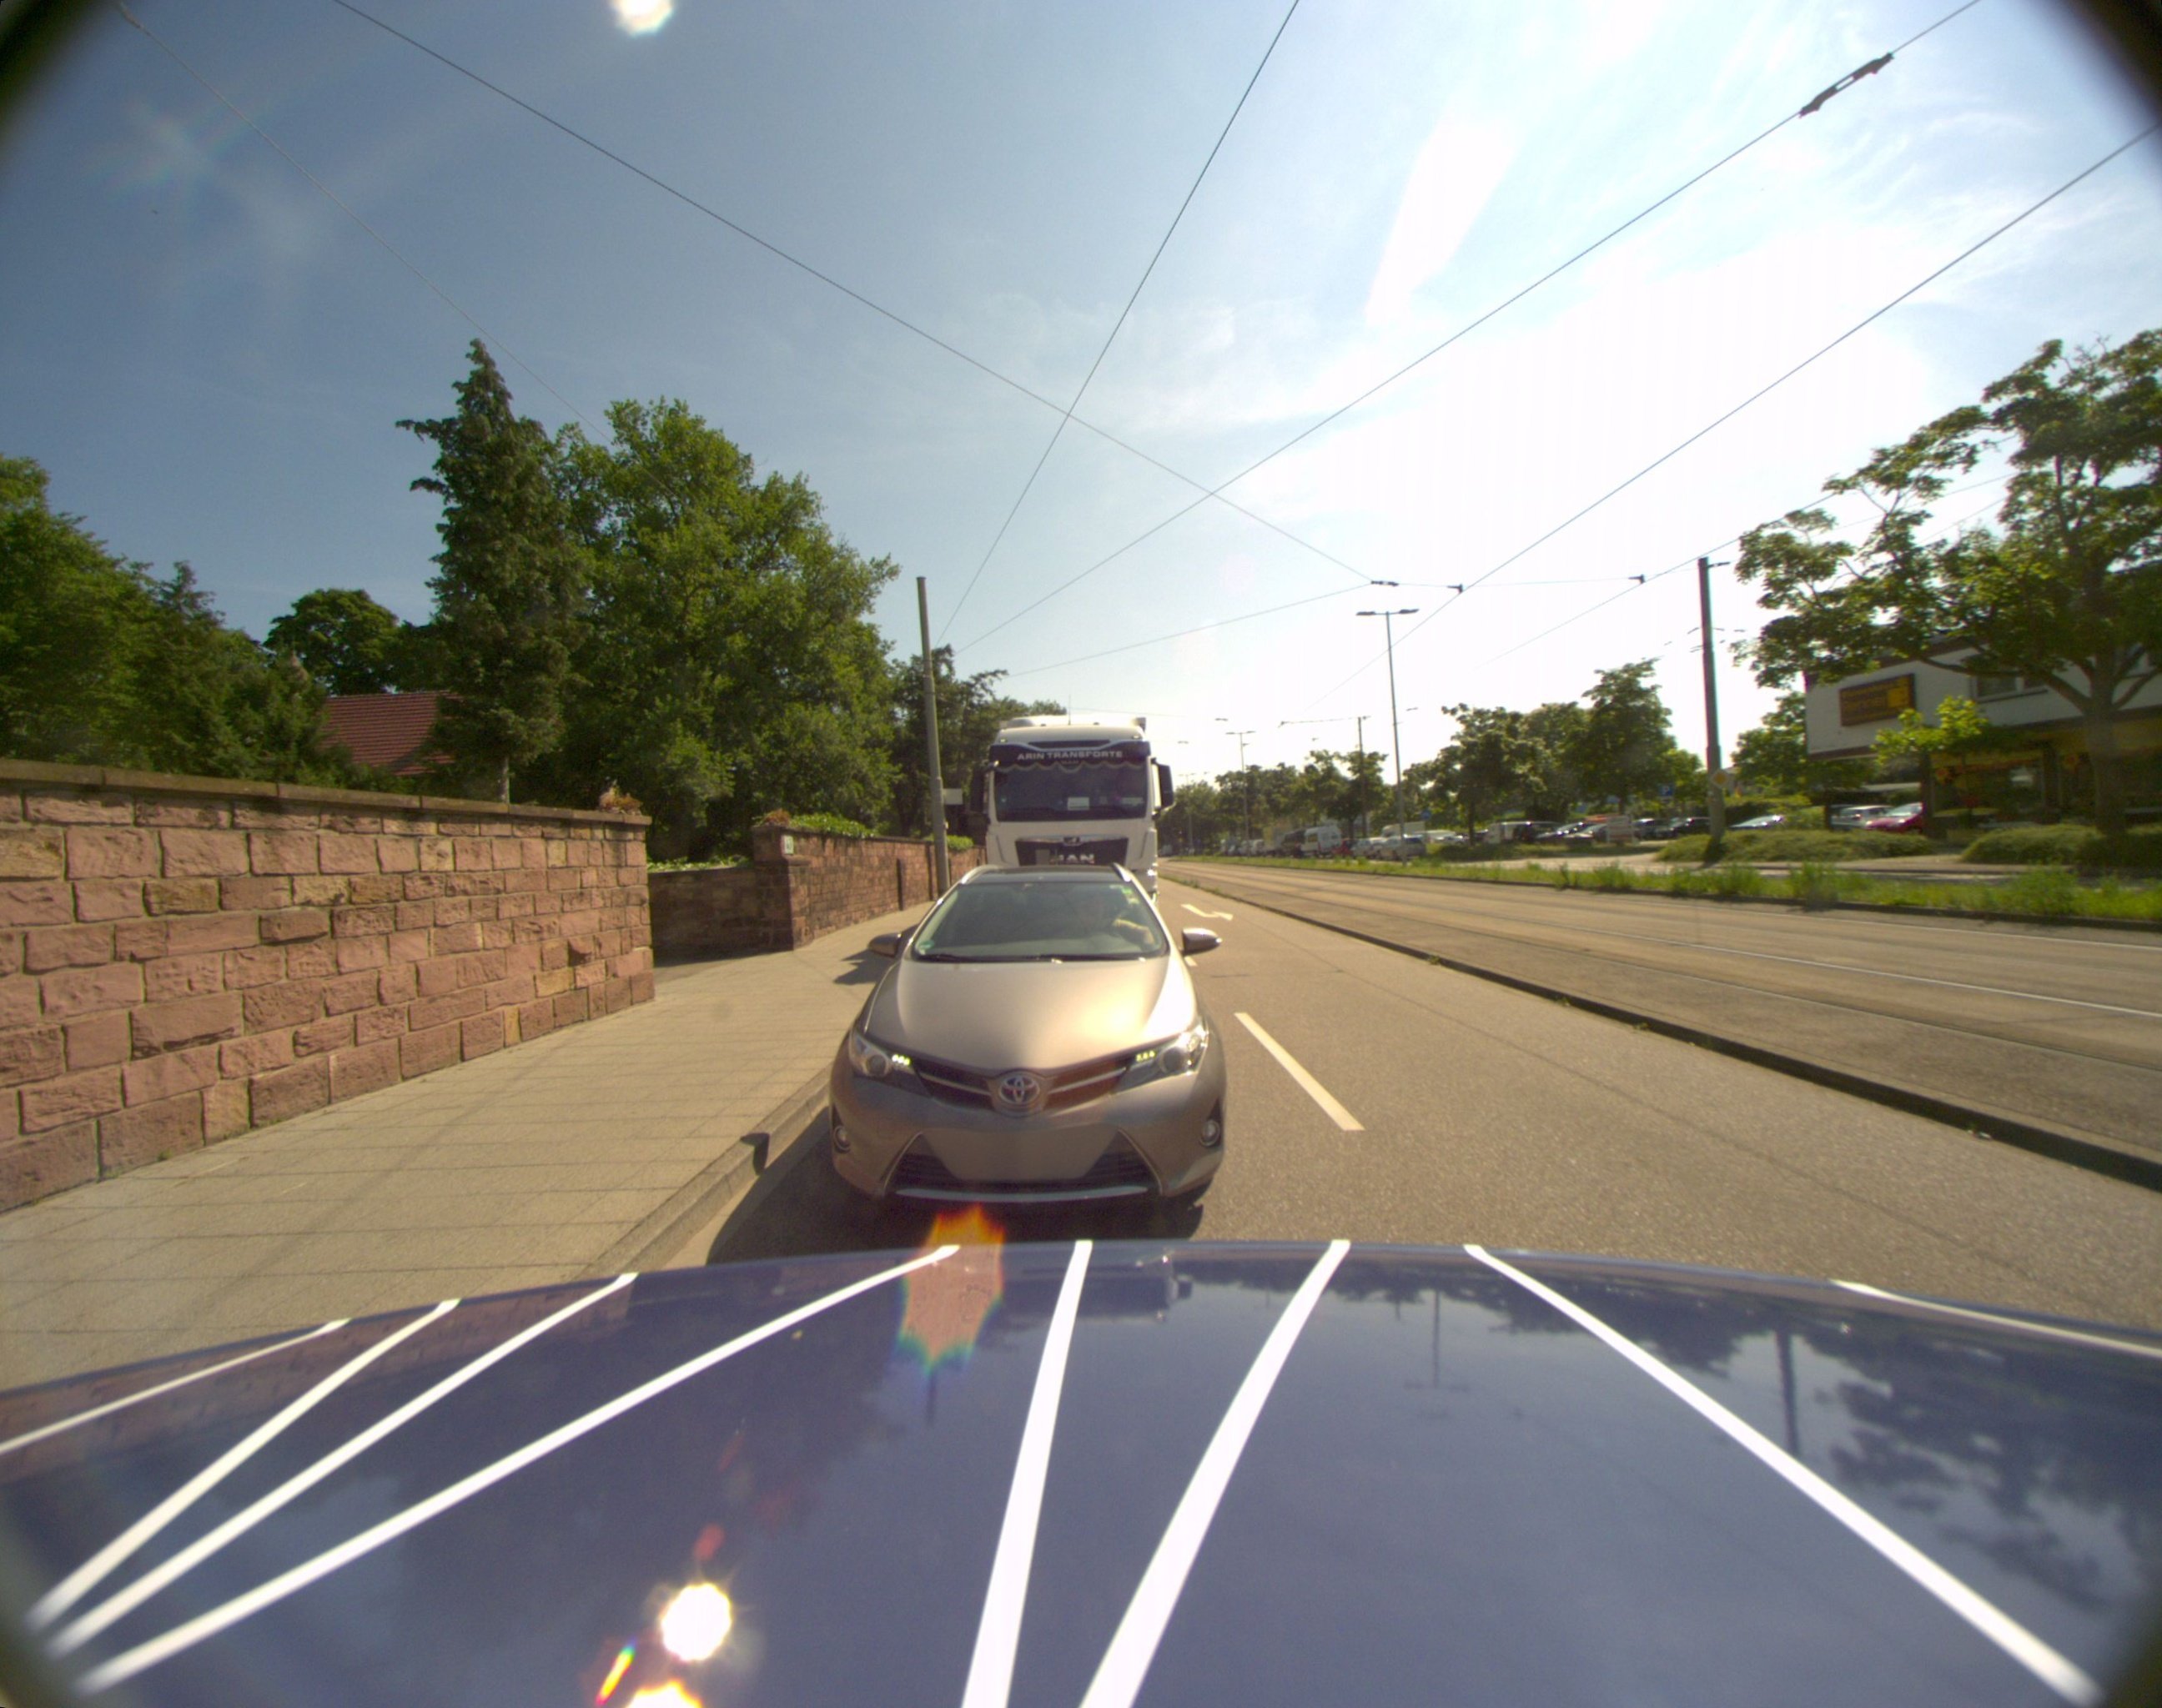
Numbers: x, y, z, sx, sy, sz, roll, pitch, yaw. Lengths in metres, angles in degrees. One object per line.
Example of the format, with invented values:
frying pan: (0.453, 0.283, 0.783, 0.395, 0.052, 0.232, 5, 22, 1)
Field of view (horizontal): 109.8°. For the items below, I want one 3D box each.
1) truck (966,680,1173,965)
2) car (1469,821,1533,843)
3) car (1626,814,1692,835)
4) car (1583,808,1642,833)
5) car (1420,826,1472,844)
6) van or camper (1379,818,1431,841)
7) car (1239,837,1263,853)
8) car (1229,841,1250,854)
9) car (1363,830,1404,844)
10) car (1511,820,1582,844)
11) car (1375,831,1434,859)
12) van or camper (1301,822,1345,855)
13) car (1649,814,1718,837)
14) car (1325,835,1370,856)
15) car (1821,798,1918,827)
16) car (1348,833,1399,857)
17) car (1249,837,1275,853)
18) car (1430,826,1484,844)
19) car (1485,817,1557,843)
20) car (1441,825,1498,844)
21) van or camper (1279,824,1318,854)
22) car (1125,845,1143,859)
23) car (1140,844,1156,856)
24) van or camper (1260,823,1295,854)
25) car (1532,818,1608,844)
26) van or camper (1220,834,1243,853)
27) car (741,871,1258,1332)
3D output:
truck: (-0.094, -0.459, 15.046, 2.746, 3.852, 9.110, -2, 0, 1)
car: (30.377, -1.581, 54.987, 3.624, 1.277, 1.712, -3, 1, -1)
car: (43.727, -2.224, 57.525, 3.624, 1.353, 1.712, -3, 1, -1)
car: (43.630, -2.726, 62.438, 3.624, 1.767, 1.712, -3, 1, -1)
car: (31.692, -1.622, 66.021, 3.624, 1.274, 1.712, -3, 1, -1)
van or camper: (44.860, -3.383, 105.380, 6.081, 2.715, 2.299, -3, 1, 3)
car: (21.053, -1.085, 94.288, 1.893, 1.757, 4.232, -3, 0, 0)
car: (20.915, -0.902, 100.293, 1.893, 1.551, 4.232, -3, 0, 0)
car: (32.002, -1.795, 80.445, 3.624, 1.274, 1.712, -3, 1, -1)
car: (30.701, -1.444, 50.194, 3.624, 1.353, 1.712, -3, 1, -1)
car: (20.416, -0.540, 48.139, 1.892, 1.486, 4.285, -6, 0, 2)
van or camper: (20.270, -1.265, 63.793, 2.040, 2.617, 4.839, -3, 0, 0)
car: (43.533, -2.039, 54.937, 3.624, 1.353, 1.712, -3, 1, -1)
car: (20.588, -0.628, 58.853, 1.893, 1.486, 4.232, -3, 0, 0)
car: (43.788, -2.299, 42.245, 3.624, 1.353, 1.712, -3, 1, -1)
car: (20.535, -0.632, 53.550, 1.893, 1.551, 4.285, -3, 0, 0)
car: (20.779, -1.026, 87.352, 1.893, 1.724, 4.232, -3, 0, 0)
car: (31.473, -1.587, 63.613, 3.624, 1.274, 1.712, -3, 1, -1)
car: (30.450, -1.642, 52.661, 3.749, 1.560, 1.951, -3, 1, -1)
car: (31.069, -1.541, 60.865, 3.624, 1.274, 1.812, -3, 0, -1)
van or camper: (20.217, -1.342, 70.848, 2.040, 2.617, 4.839, -3, 0, 0)
car: (6.896, -0.305, 98.579, 1.817, 1.725, 4.024, -2, 1, 12)
car: (9.873, -0.605, 111.362, 1.817, 1.725, 4.024, -2, 1, 12)
van or camper: (20.291, -1.608, 78.738, 2.128, 2.967, 5.281, -3, 0, 0)
car: (30.497, -1.406, 47.452, 3.624, 1.353, 1.712, -3, 1, -1)
van or camper: (21.147, -1.467, 107.204, 2.114, 2.604, 5.451, -2, 1, 1)
car: (-0.255, 0.919, 4.885, 1.742, 1.424, 4.462, -3, 0, 1)
